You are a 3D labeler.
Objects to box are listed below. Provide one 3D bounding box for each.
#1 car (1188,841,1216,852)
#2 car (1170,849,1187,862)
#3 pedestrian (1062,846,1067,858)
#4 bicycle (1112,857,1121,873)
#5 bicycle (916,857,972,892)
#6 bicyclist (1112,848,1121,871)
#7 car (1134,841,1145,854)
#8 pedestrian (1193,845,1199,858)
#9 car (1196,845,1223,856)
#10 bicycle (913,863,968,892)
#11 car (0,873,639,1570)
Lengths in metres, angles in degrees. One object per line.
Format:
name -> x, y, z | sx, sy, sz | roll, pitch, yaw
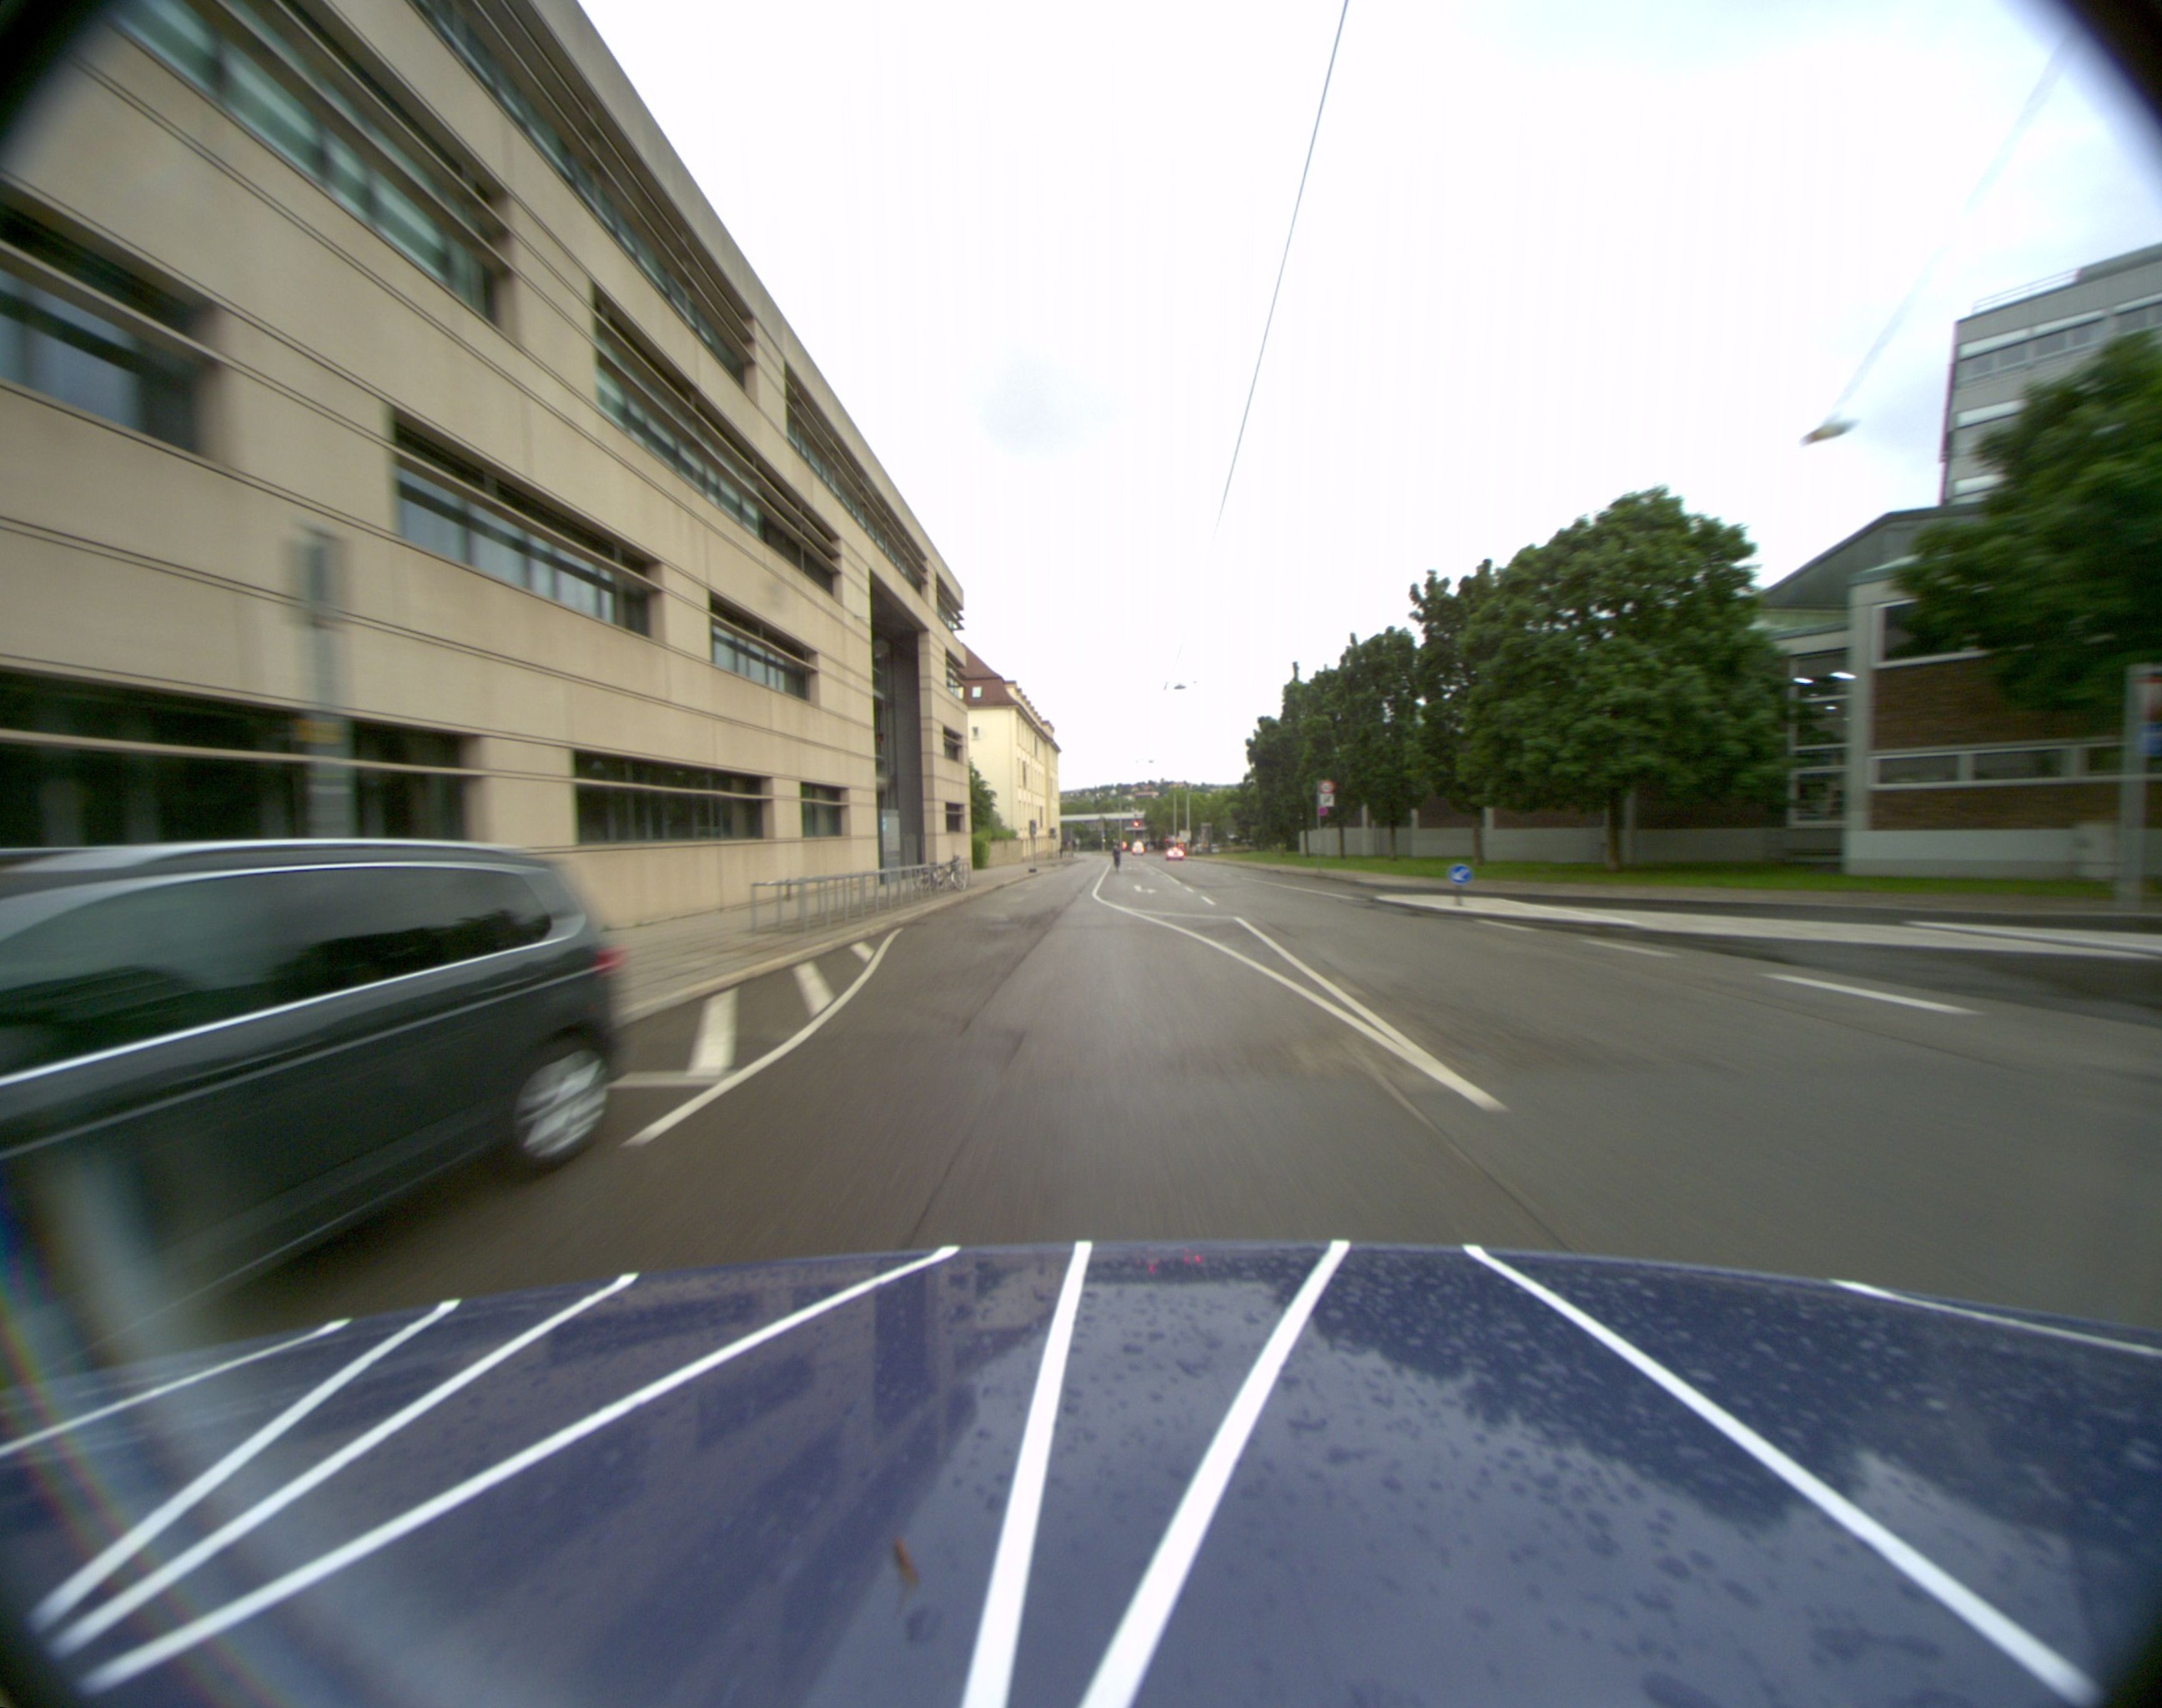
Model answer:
car -> 22.696, -1.405, 142.482 | 4.710, 1.745, 2.020 | -2, 1, 45
car -> 11.986, 0.208, 93.629 | 1.885, 1.482, 5.222 | 1, 0, 5
pedestrian -> -2.457, -0.247, 112.045 | 0.671, 1.787, 0.852 | 0, 1, 4
bicycle -> 2.254, 0.677, 48.259 | 0.448, 0.957, 1.691 | -2, 0, 5
bicycle -> -4.588, 0.667, 25.453 | 1.734, 1.112, 0.659 | -1, 1, -2
bicyclist -> 2.266, 0.323, 48.131 | 0.485, 1.425, 0.930 | -2, 1, 5
car -> 12.069, -1.281, 156.483 | 1.988, 2.514, 5.632 | 0, 0, 1
pedestrian -> 15.289, -0.310, 100.753 | 0.671, 1.677, 0.914 | -2, 1, 10
car -> 21.196, -0.548, 125.709 | 1.871, 1.600, 4.516 | -3, 1, -31
bicycle -> -4.887, 0.812, 26.453 | 1.763, 0.947, 0.659 | -1, 1, 0
car -> -3.507, 0.957, 2.158 | 1.775, 1.594, 4.394 | -2, 1, 2
